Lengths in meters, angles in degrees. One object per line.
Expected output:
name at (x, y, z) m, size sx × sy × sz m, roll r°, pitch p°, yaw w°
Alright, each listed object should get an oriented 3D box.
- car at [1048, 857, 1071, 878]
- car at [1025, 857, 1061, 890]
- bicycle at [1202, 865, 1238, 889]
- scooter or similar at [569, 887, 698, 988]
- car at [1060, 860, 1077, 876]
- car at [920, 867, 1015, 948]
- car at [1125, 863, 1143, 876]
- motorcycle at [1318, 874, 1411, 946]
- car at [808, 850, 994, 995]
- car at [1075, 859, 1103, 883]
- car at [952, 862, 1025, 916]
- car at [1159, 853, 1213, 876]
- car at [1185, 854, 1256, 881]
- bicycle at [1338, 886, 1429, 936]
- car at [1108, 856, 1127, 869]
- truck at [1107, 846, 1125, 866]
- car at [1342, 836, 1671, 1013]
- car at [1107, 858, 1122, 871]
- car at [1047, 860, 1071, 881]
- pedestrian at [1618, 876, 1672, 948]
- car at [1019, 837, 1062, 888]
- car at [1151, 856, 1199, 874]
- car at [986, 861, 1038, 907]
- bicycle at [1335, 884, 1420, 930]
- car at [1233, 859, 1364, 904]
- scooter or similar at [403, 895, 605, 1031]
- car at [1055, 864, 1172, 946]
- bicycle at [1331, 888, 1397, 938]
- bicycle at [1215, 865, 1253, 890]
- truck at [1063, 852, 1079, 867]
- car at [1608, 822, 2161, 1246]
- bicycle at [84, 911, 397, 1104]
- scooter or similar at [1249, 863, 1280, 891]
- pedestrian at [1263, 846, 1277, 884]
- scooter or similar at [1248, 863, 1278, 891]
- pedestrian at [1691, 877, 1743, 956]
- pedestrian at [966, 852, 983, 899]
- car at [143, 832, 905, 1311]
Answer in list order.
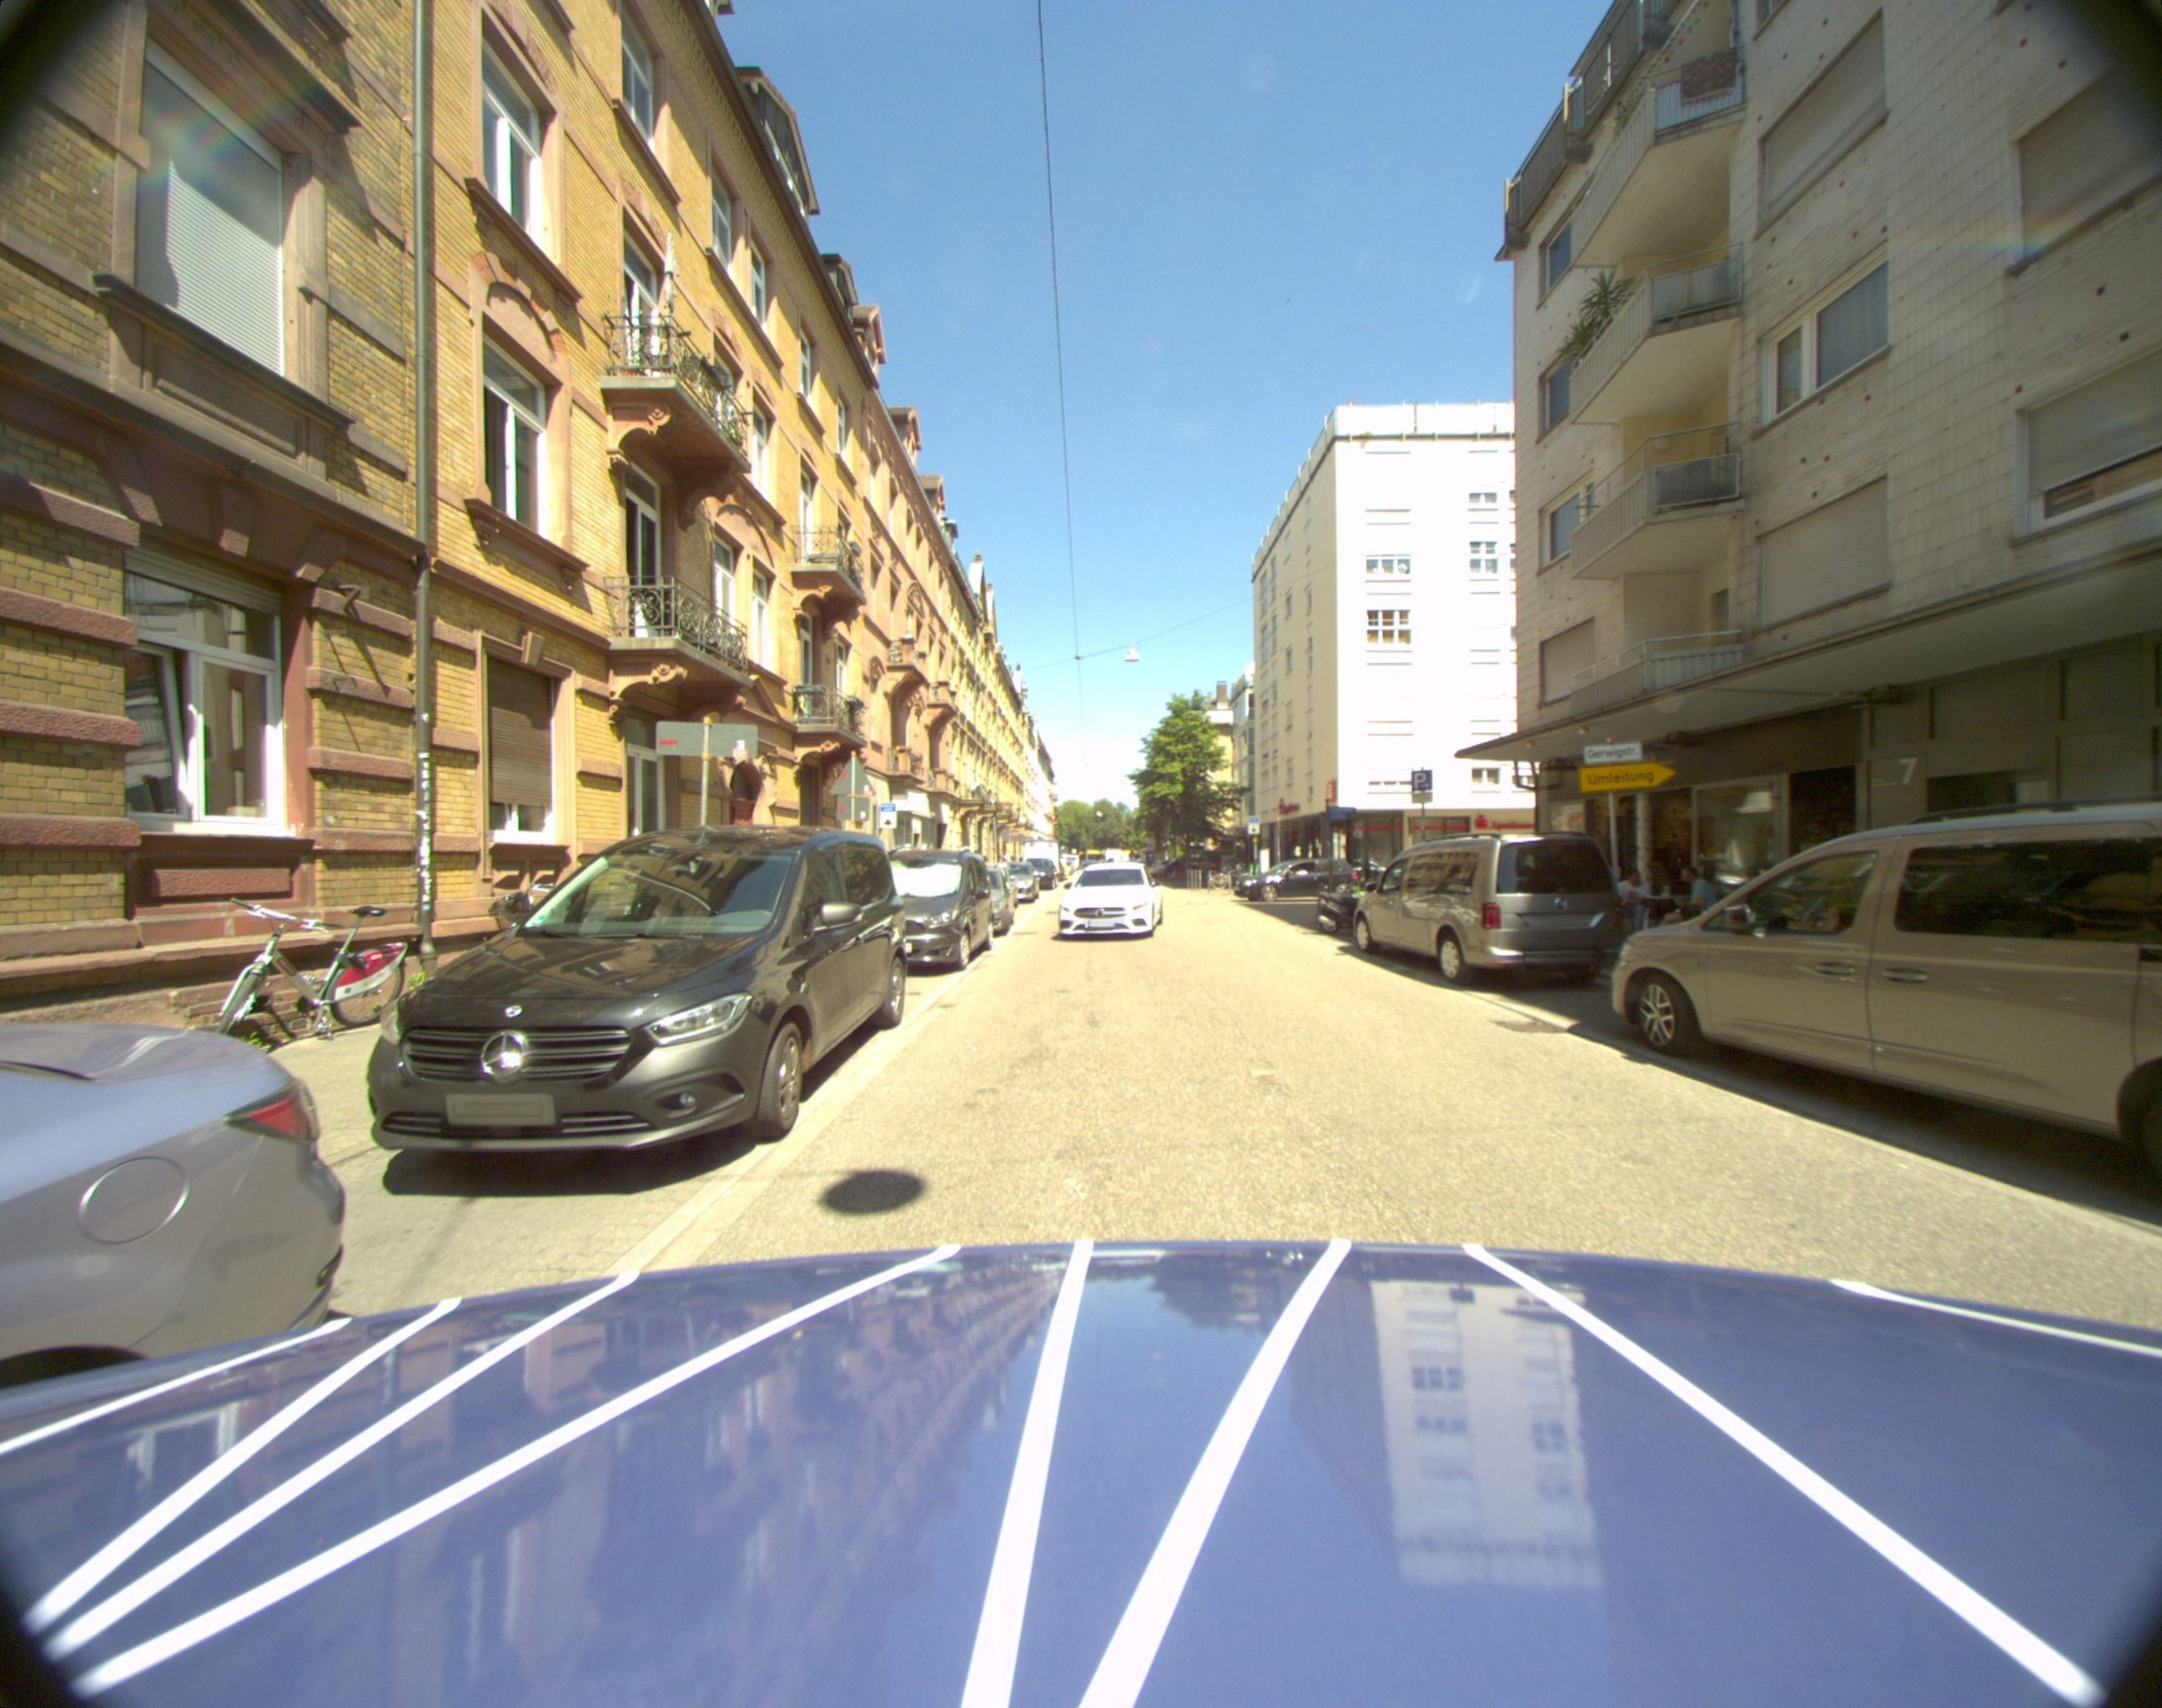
car at (-1.703, 1.040, 59.470) m, size 1.682 × 1.528 × 3.999 m, roll -2°, pitch 0°, yaw -2°
car at (-1.882, 0.929, 38.166) m, size 1.682 × 1.528 × 3.999 m, roll -2°, pitch 0°, yaw -2°
bicycle at (6.628, 1.096, 36.294) m, size 1.608 × 1.084 × 0.371 m, roll -2°, pitch 0°, yaw 6°
scooter or similar at (-6.013, 1.065, 10.369) m, size 0.477 × 1.146 × 2.112 m, roll -1°, pitch 0°, yaw 1°
car at (-1.308, 1.375, 77.676) m, size 1.682 × 1.528 × 3.999 m, roll -2°, pitch 0°, yaw -2°
car at (-2.365, 1.072, 16.664) m, size 1.766 × 1.441 × 3.903 m, roll -2°, pitch 0°, yaw -5°
car at (6.748, 1.936, 96.456) m, size 1.998 × 1.505 × 4.000 m, roll -2°, pitch 0°, yaw 1°
motorcycle at (5.343, 1.041, 14.355) m, size 1.552 × 1.276 × 0.394 m, roll -2°, pitch 1°, yaw 33°
car at (-2.412, 0.829, 11.220) m, size 1.706 × 1.723 × 4.000 m, roll -1°, pitch 0°, yaw 1°
car at (0.564, 1.095, 51.367) m, size 1.780 × 1.460 × 4.000 m, roll -2°, pitch 0°, yaw 1°
car at (-2.784, 1.027, 23.629) m, size 1.830 × 1.452 × 3.999 m, roll -1°, pitch 0°, yaw -2°
car at (8.019, 0.804, 58.163) m, size 3.885 × 1.737 × 1.652 m, roll -1°, pitch 0°, yaw 0°
car at (8.281, 0.804, 45.343) m, size 3.885 × 1.520 × 1.652 m, roll -1°, pitch 0°, yaw 0°
bicycle at (6.274, 1.164, 15.802) m, size 1.706 × 0.951 × 0.411 m, roll -1°, pitch 1°, yaw 43°
car at (4.311, 0.989, 89.471) m, size 1.998 × 1.505 × 4.000 m, roll -2°, pitch 0°, yaw 1°
truck at (5.885, 0.343, 127.924) m, size 2.763 × 3.270 × 4.957 m, roll -1°, pitch 0°, yaw 1°
car at (5.311, 0.753, 10.440) m, size 1.793 × 1.818 × 4.901 m, roll -2°, pitch 0°, yaw 1°
car at (4.625, 1.391, 105.631) m, size 1.998 × 1.674 × 4.000 m, roll -2°, pitch 0°, yaw 1°
car at (-1.494, 1.120, 51.961) m, size 1.533 × 1.293 × 3.686 m, roll -2°, pitch 0°, yaw -2°
pedestrian at (9.250, 0.938, 12.465) m, size 0.500 × 1.120 × 0.507 m, roll -1°, pitch 0°, yaw -19°
car at (-2.274, 0.463, 44.131) m, size 2.067 × 2.687 × 5.039 m, roll -2°, pitch 0°, yaw 1°
car at (7.878, 0.913, 63.797) m, size 3.885 × 1.487 × 1.652 m, roll -1°, pitch 0°, yaw 0°
car at (-2.424, 1.021, 27.415) m, size 1.603 × 1.453 × 3.689 m, roll -2°, pitch 0°, yaw -2°
bicycle at (6.562, 1.148, 16.862) m, size 1.706 × 0.951 × 0.411 m, roll -1°, pitch 1°, yaw 43°
car at (7.318, 0.903, 25.759) m, size 3.889 × 1.417 × 1.815 m, roll -1°, pitch 0°, yaw -2°
scooter or similar at (-6.022, 1.067, 8.118) m, size 0.477 × 1.146 × 2.149 m, roll -1°, pitch 0°, yaw 1°
car at (0.822, 0.958, 15.860) m, size 1.812 × 1.417 × 4.245 m, roll -1°, pitch 0°, yaw 11°
bicycle at (5.736, 1.179, 15.430) m, size 1.210 × 0.951 × 0.338 m, roll -1°, pitch 1°, yaw 43°
bicycle at (6.923, 1.055, 34.459) m, size 1.608 × 1.084 × 0.371 m, roll -2°, pitch 0°, yaw 6°
truck at (-1.385, 0.737, 107.351) m, size 1.998 × 2.002 × 4.902 m, roll -1°, pitch 0°, yaw 1°
car at (5.436, 0.744, 4.086) m, size 1.793 × 1.800 × 4.698 m, roll -2°, pitch 0°, yaw -2°
bicycle at (-6.099, 1.036, 5.677) m, size 0.354 × 1.097 × 1.755 m, roll -1°, pitch 0°, yaw 1°
scooter or similar at (7.708, 0.971, 31.926) m, size 1.192 × 1.160 × 0.289 m, roll -1°, pitch 0°, yaw -1°
pedestrian at (10.726, 0.634, 43.157) m, size 0.608 × 2.113 × 0.496 m, roll 0°, pitch 0°, yaw 36°
scooter or similar at (7.857, 0.985, 32.769) m, size 1.192 × 1.160 × 0.289 m, roll -1°, pitch 0°, yaw -1°
pedestrian at (9.428, 0.907, 11.270) m, size 0.498 × 1.120 × 0.509 m, roll 0°, pitch 0°, yaw 29°
pedestrian at (-4.284, 0.865, 30.620) m, size 0.635 × 1.903 × 0.370 m, roll -1°, pitch 0°, yaw 1°
car at (-2.541, 0.806, 4.963) m, size 1.829 × 1.756 × 4.337 m, roll 0°, pitch 0°, yaw -1°
